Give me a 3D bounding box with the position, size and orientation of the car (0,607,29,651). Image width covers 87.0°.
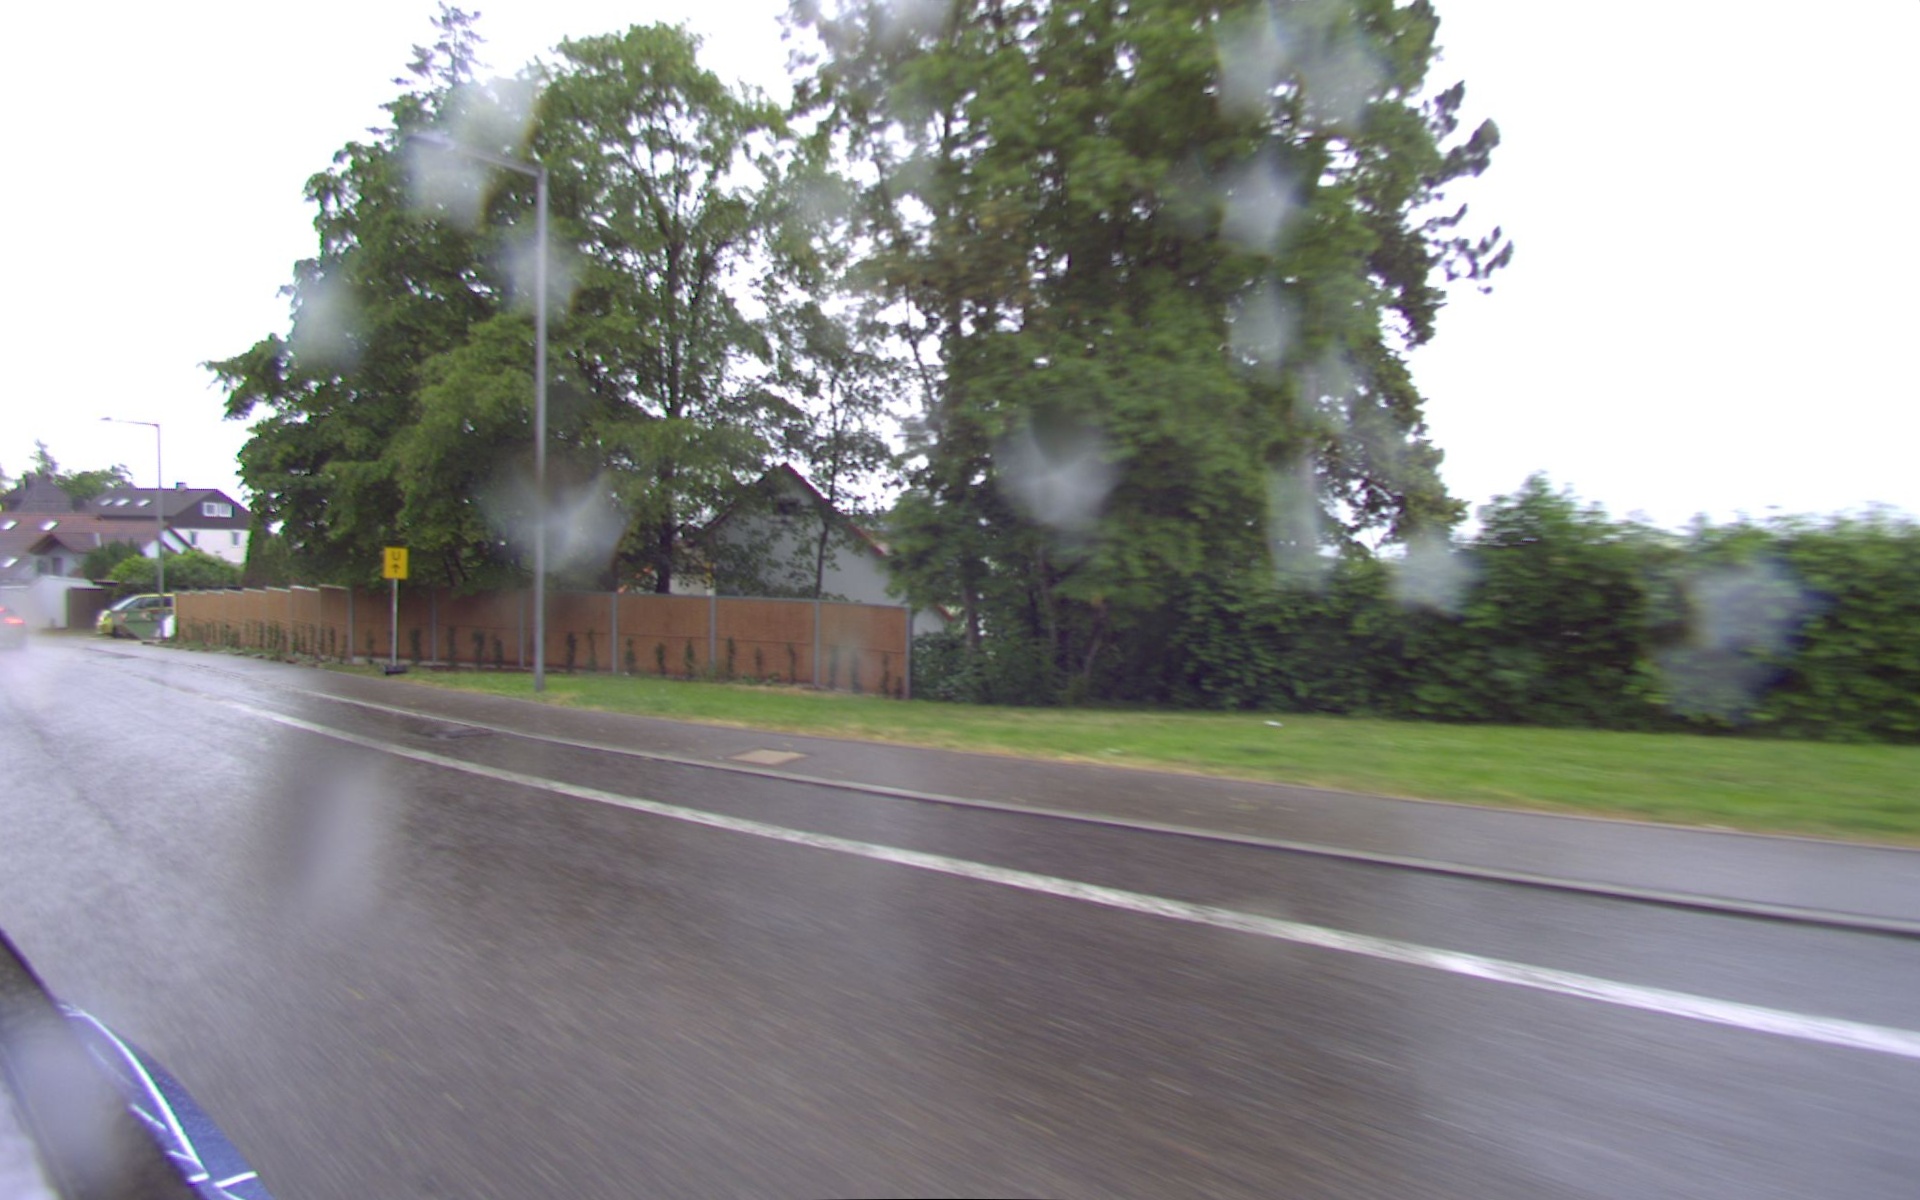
[{"bbox_3d":[-37.512,1.099,39.048,4.545,1.660,1.898,-1,-1,42],"label":"car"}]

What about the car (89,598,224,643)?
[{"bbox_3d":[-35.945,0.873,45.356,2.088,1.874,4.456,-1,0,41],"label":"car"}]
